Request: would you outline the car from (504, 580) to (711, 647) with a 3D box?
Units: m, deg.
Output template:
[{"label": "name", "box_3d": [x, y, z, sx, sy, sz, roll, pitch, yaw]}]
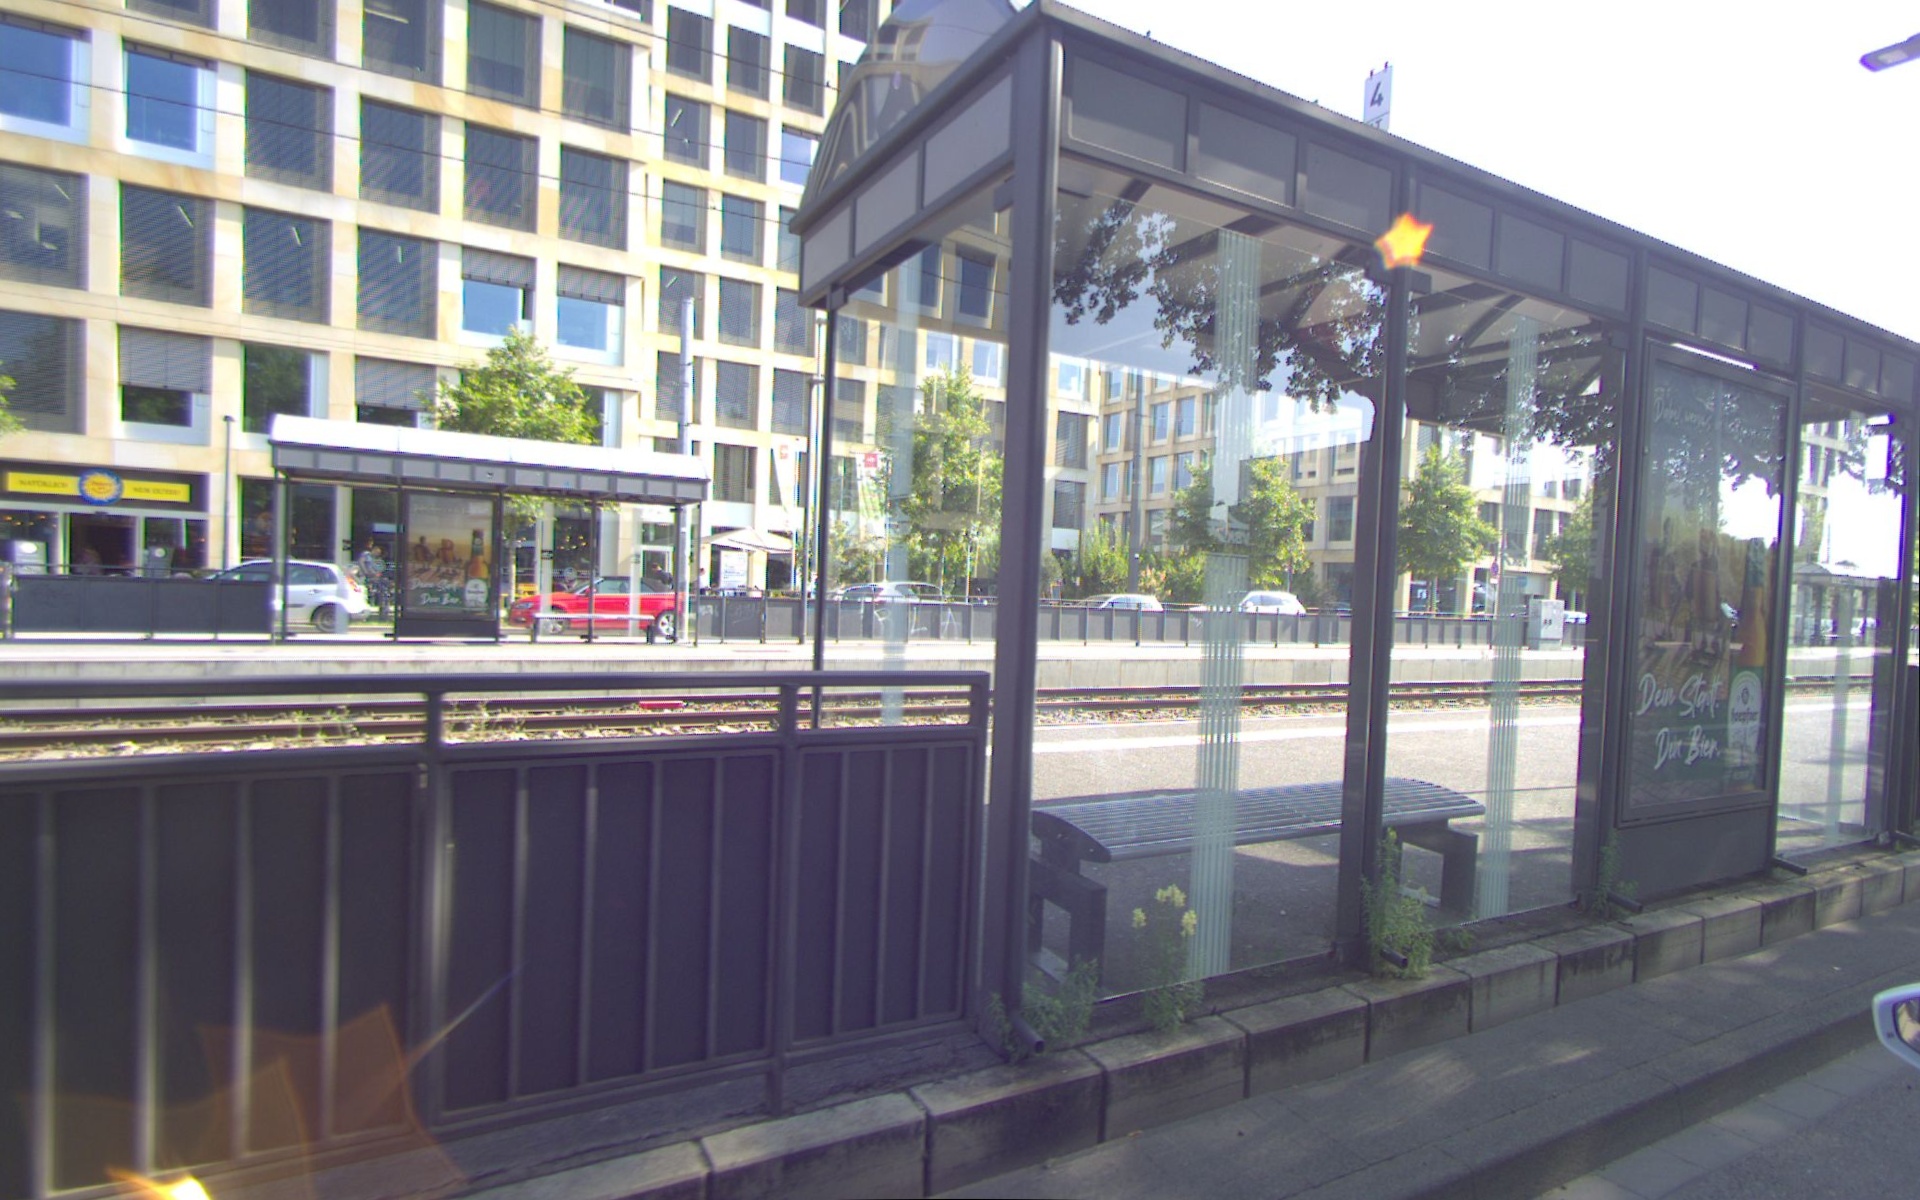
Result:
[{"label": "car", "box_3d": [-8.178, 0.324, 23.405, 4.322, 1.426, 1.675, 2, 0, -31]}]

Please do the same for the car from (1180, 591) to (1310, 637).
[{"label": "car", "box_3d": [9.618, 0.484, 33.836, 4.320, 1.426, 1.675, 2, 0, -31]}]

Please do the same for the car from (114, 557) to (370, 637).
[{"label": "car", "box_3d": [-14.093, -0.030, 20.029, 3.953, 1.426, 1.781, 2, 0, -31]}]

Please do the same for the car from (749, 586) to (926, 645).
[{"label": "car", "box_3d": [-3.207, 0.417, 26.478, 4.322, 1.426, 1.675, 2, 0, -31]}]
